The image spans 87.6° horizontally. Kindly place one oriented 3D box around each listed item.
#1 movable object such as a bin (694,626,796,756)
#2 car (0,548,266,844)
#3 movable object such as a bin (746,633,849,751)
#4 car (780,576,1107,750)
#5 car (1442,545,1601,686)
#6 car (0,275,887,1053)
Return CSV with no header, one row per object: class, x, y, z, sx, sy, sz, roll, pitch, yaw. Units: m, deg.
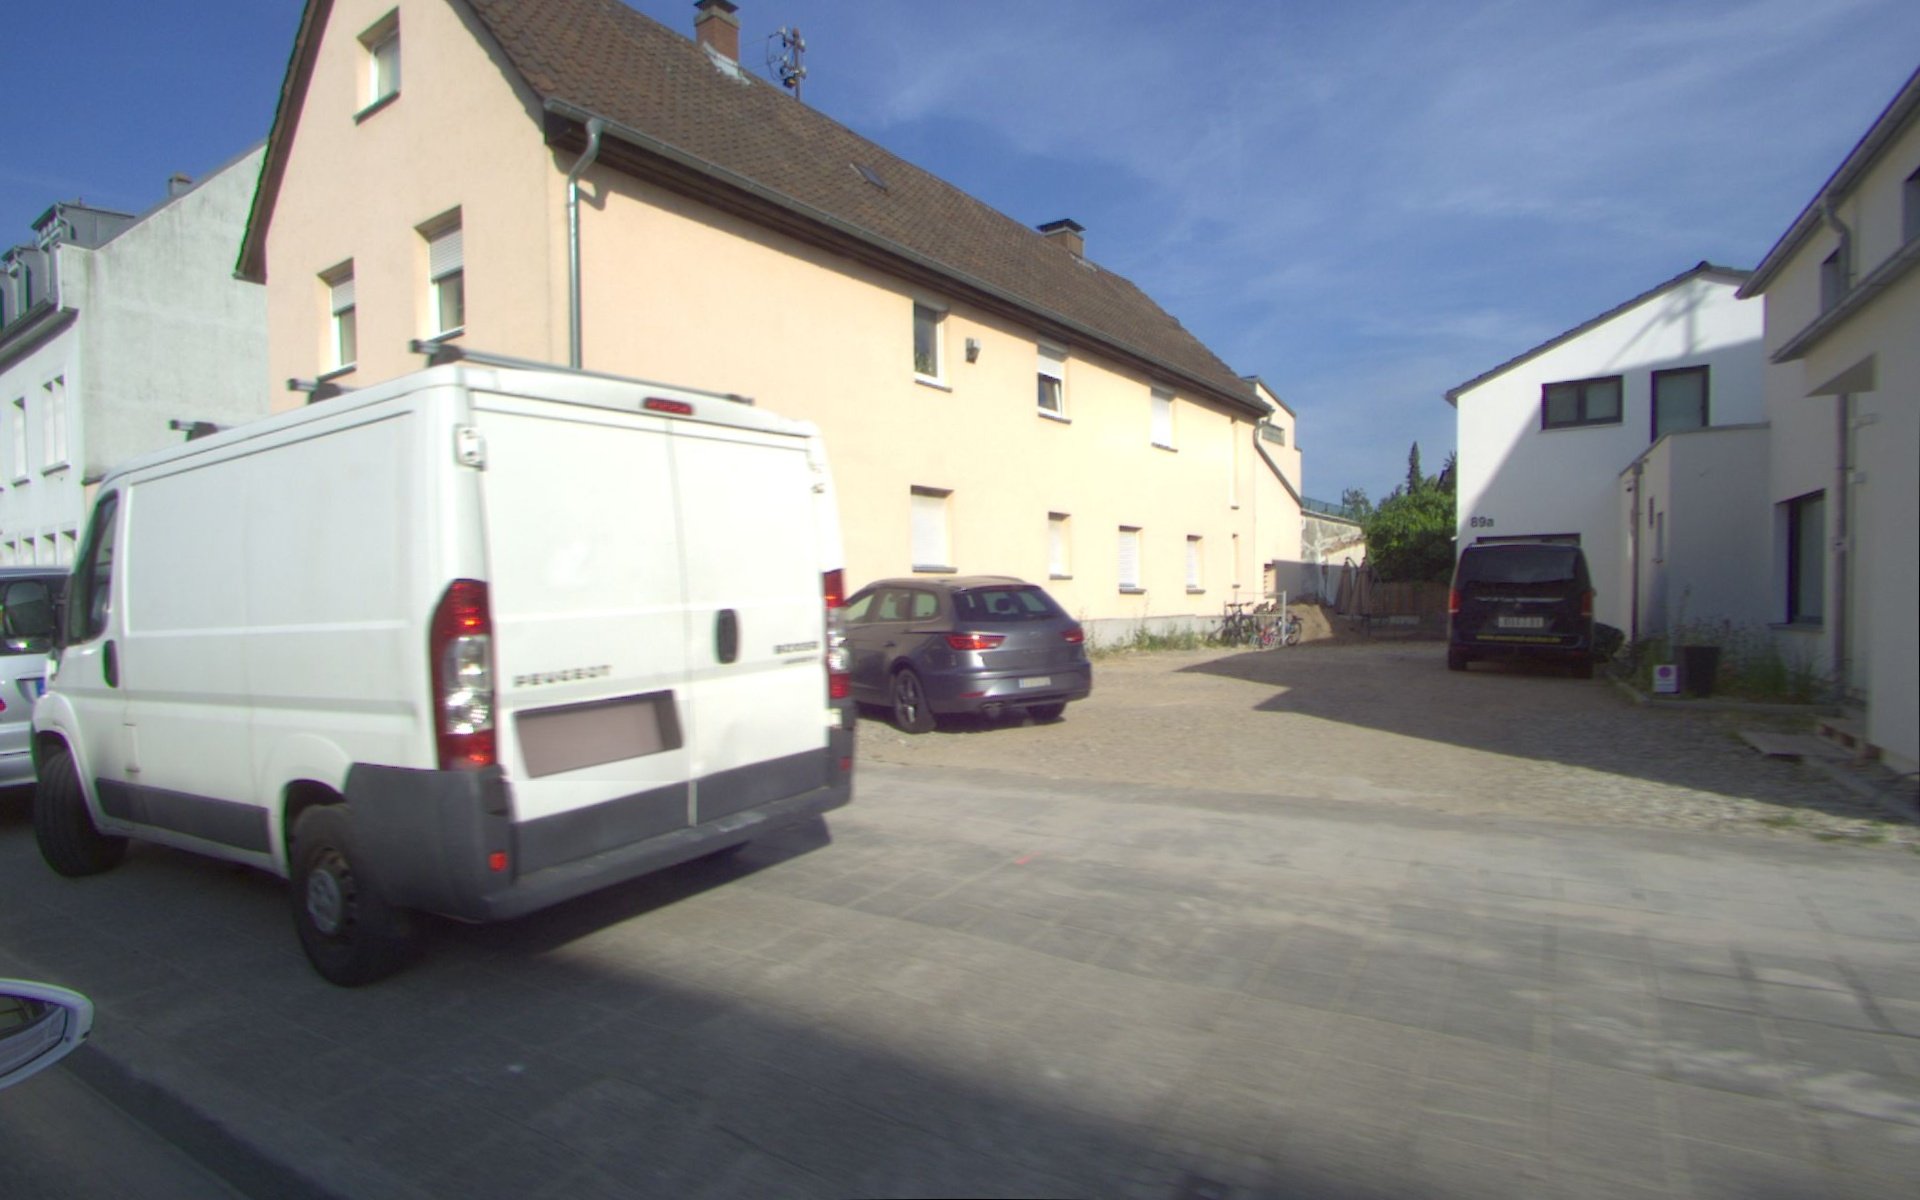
movable object such as a bin,-1.958,0.802,9.151,0.546,1.108,0.726,0,1,33
car,-7.311,0.573,7.623,4.420,1.765,1.773,0,2,33
movable object such as a bin,-1.423,0.785,8.833,0.546,0.971,0.726,0,0,33
car,-0.372,0.502,10.477,1.638,1.426,3.956,-2,2,-31
car,8.677,0.170,15.409,1.895,1.871,3.815,1,1,32
car,-3.013,0.194,5.303,4.927,2.359,2.168,0,2,33
